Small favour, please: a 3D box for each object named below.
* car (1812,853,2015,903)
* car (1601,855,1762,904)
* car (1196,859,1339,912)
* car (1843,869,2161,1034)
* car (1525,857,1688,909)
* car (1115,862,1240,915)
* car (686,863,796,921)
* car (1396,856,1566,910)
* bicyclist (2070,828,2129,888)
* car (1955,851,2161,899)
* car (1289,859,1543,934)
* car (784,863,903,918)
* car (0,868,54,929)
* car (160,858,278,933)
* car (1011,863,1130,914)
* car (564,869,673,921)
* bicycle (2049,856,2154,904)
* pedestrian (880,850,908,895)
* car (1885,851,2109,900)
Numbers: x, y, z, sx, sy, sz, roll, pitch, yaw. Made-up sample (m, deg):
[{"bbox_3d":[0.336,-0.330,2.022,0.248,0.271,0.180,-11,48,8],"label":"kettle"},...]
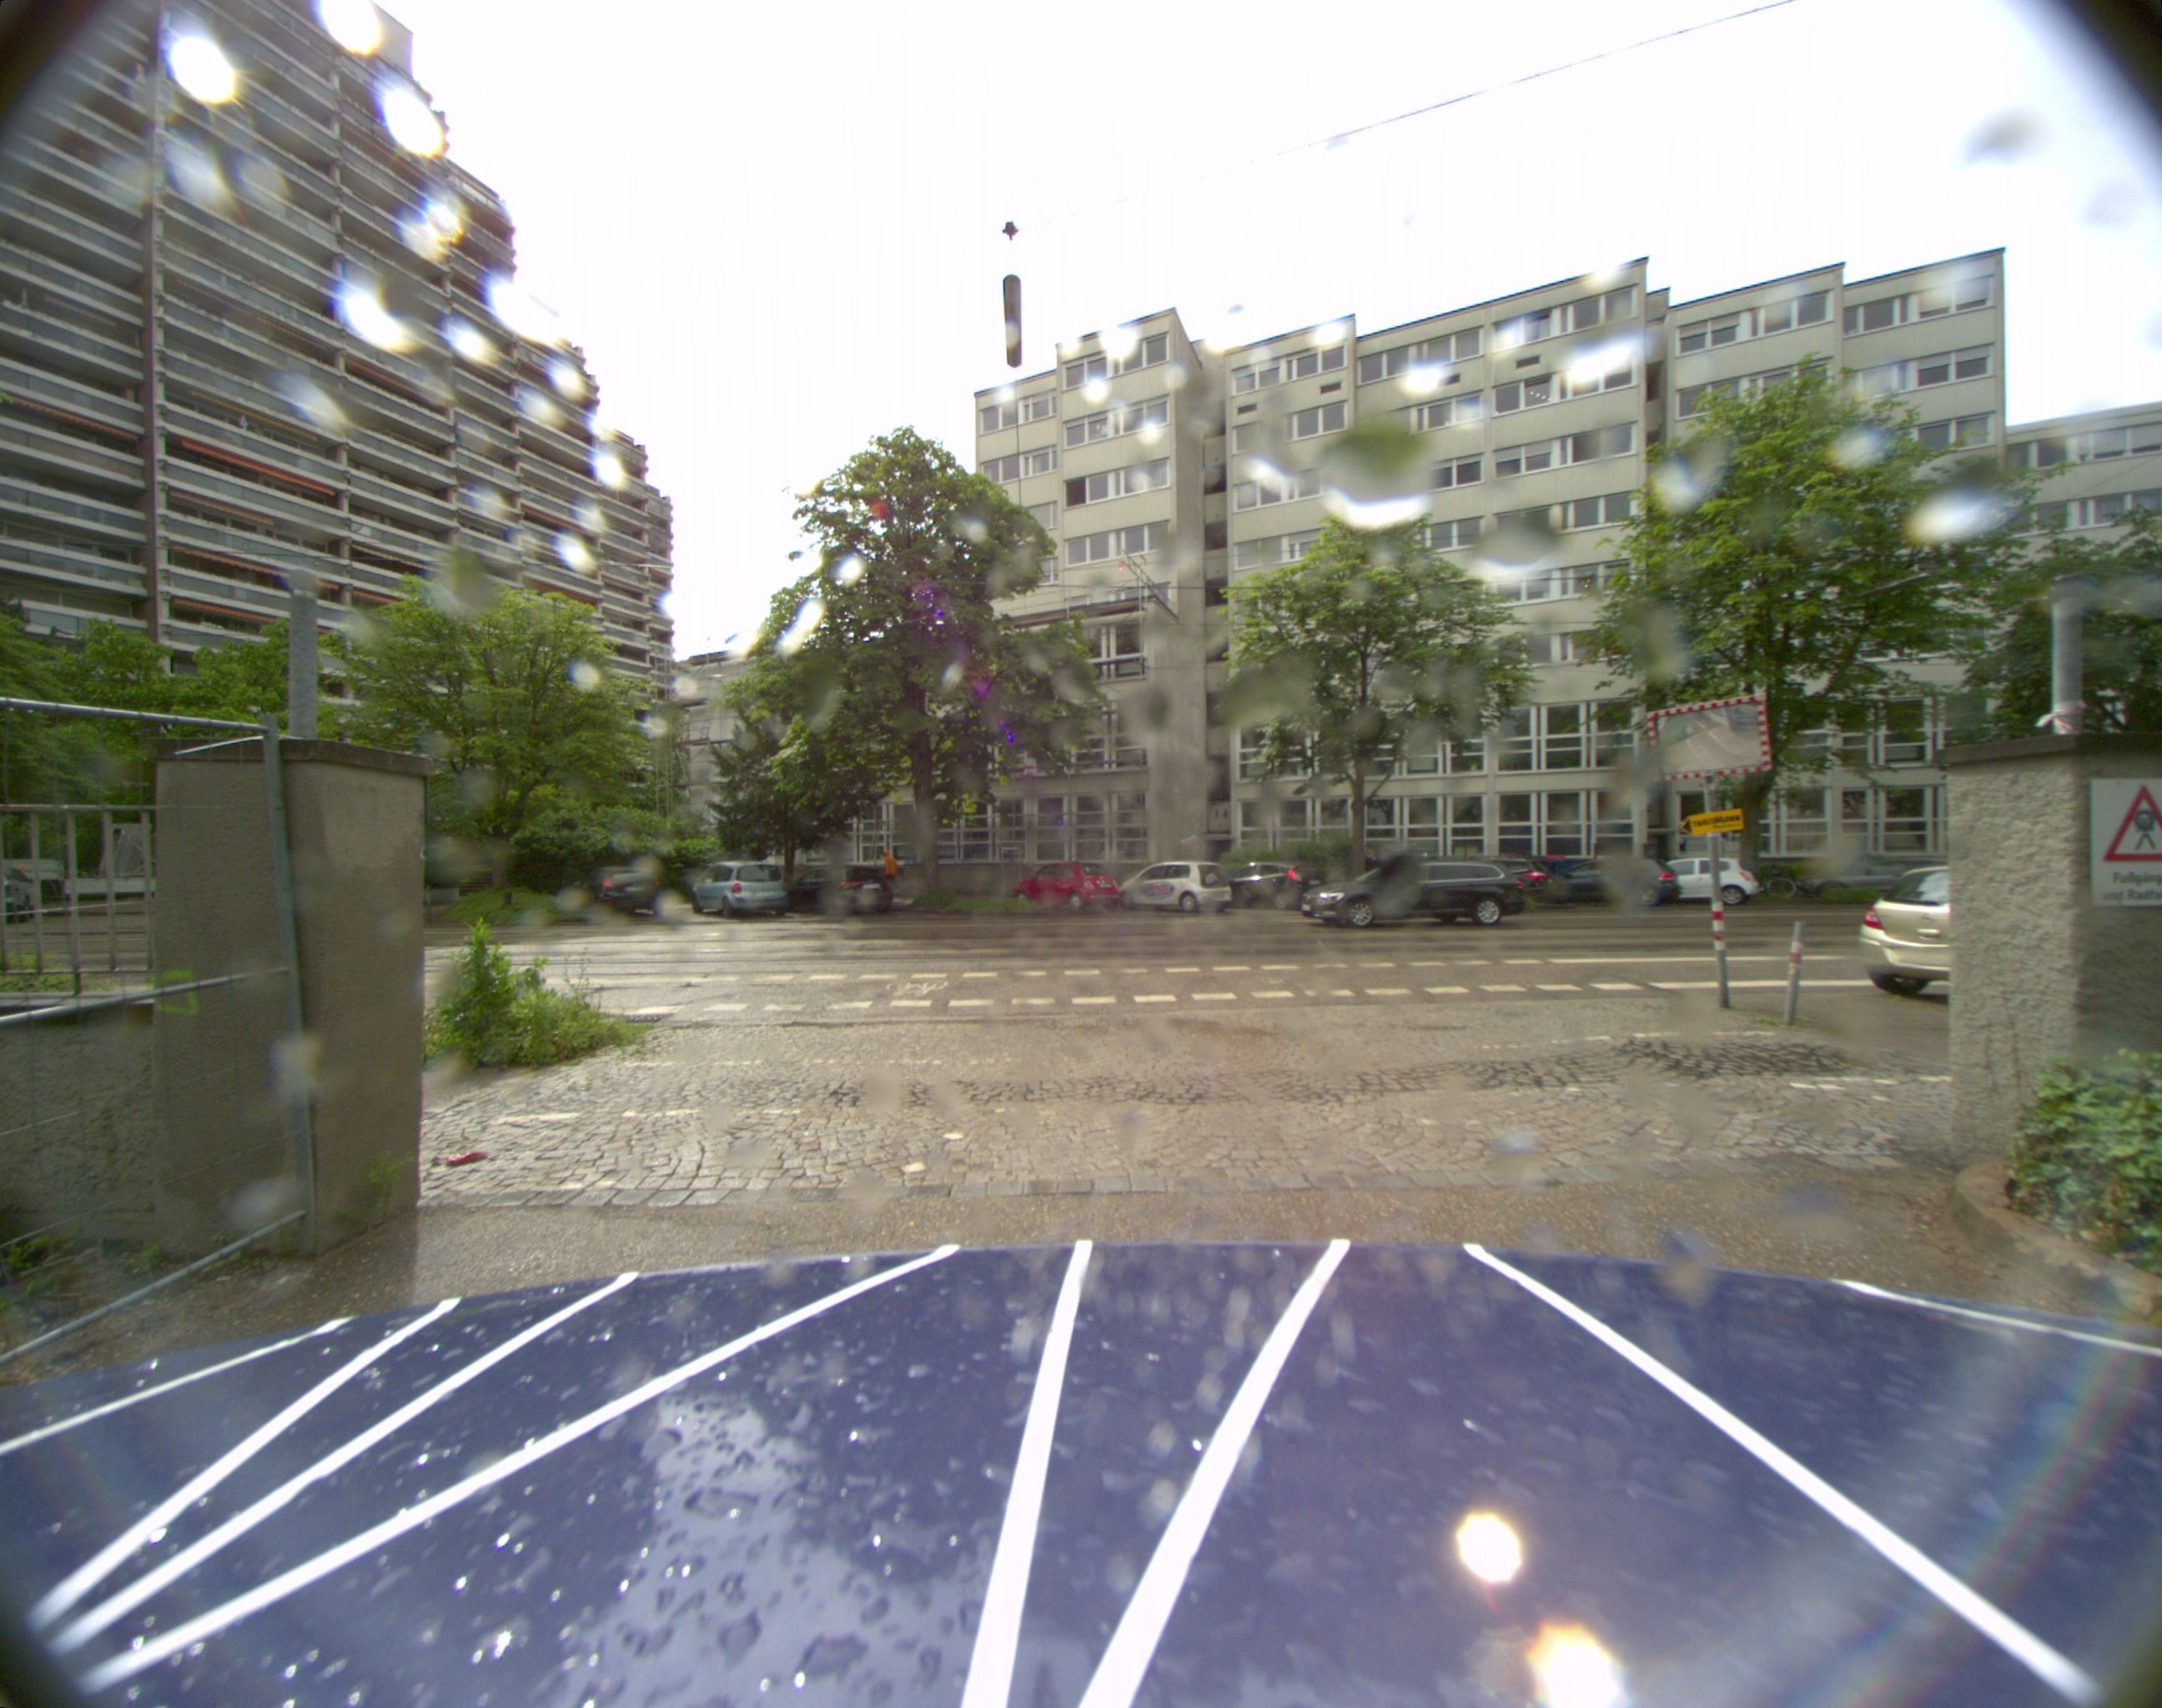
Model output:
[{"bbox_3d":[26.182,0.778,24.154,4.195,1.444,1.818,-3,-2,44],"label":"car"},{"bbox_3d":[19.072,0.816,24.214,3.871,1.445,1.782,-3,-2,43],"label":"car"},{"bbox_3d":[5.705,0.934,23.552,1.820,1.472,3.968,-1,-1,-40],"label":"car"},{"bbox_3d":[10.509,0.891,7.757,3.831,1.451,1.690,-1,-1,-2],"label":"car"},{"bbox_3d":[16.114,0.897,23.409,3.871,1.445,1.827,-3,-2,43],"label":"car"},{"bbox_3d":[2.865,0.977,22.916,1.714,1.443,3.398,-1,1,-44],"label":"car"},{"bbox_3d":[-10.044,1.043,22.365,3.639,1.542,1.712,0,1,44],"label":"car"},{"bbox_3d":[12.509,0.928,23.911,4.359,1.545,1.882,-3,-3,42],"label":"car"},{"bbox_3d":[28.230,0.122,21.068,0.673,1.607,0.646,-2,-1,4],"label":"bicyclist"},{"bbox_3d":[32.081,0.699,24.864,4.360,1.444,1.910,-3,-2,44],"label":"car"},{"bbox_3d":[7.308,0.899,16.888,4.761,1.472,2.000,-1,-1,-4],"label":"car"},{"bbox_3d":[-7.029,1.002,22.347,3.639,1.461,1.745,0,0,43],"label":"car"},{"bbox_3d":[-31.698,1.262,22.060,4.034,1.556,1.789,1,2,42],"label":"car"},{"bbox_3d":[-24.342,1.070,21.622,4.631,1.885,1.942,0,0,45],"label":"car"},{"bbox_3d":[-0.361,0.998,23.255,3.398,1.460,1.746,0,-1,43],"label":"car"},{"bbox_3d":[-13.866,1.162,22.719,3.639,1.389,1.773,0,0,41],"label":"car"},{"bbox_3d":[28.247,0.725,21.057,1.867,1.258,0.646,-2,-1,4],"label":"bicycle"},{"bbox_3d":[-7.319,0.738,29.763,0.709,1.732,0.837,-1,-1,-43],"label":"pedestrian"},{"bbox_3d":[29.111,0.712,24.418,4.383,1.444,1.889,-3,-2,44],"label":"car"}]
